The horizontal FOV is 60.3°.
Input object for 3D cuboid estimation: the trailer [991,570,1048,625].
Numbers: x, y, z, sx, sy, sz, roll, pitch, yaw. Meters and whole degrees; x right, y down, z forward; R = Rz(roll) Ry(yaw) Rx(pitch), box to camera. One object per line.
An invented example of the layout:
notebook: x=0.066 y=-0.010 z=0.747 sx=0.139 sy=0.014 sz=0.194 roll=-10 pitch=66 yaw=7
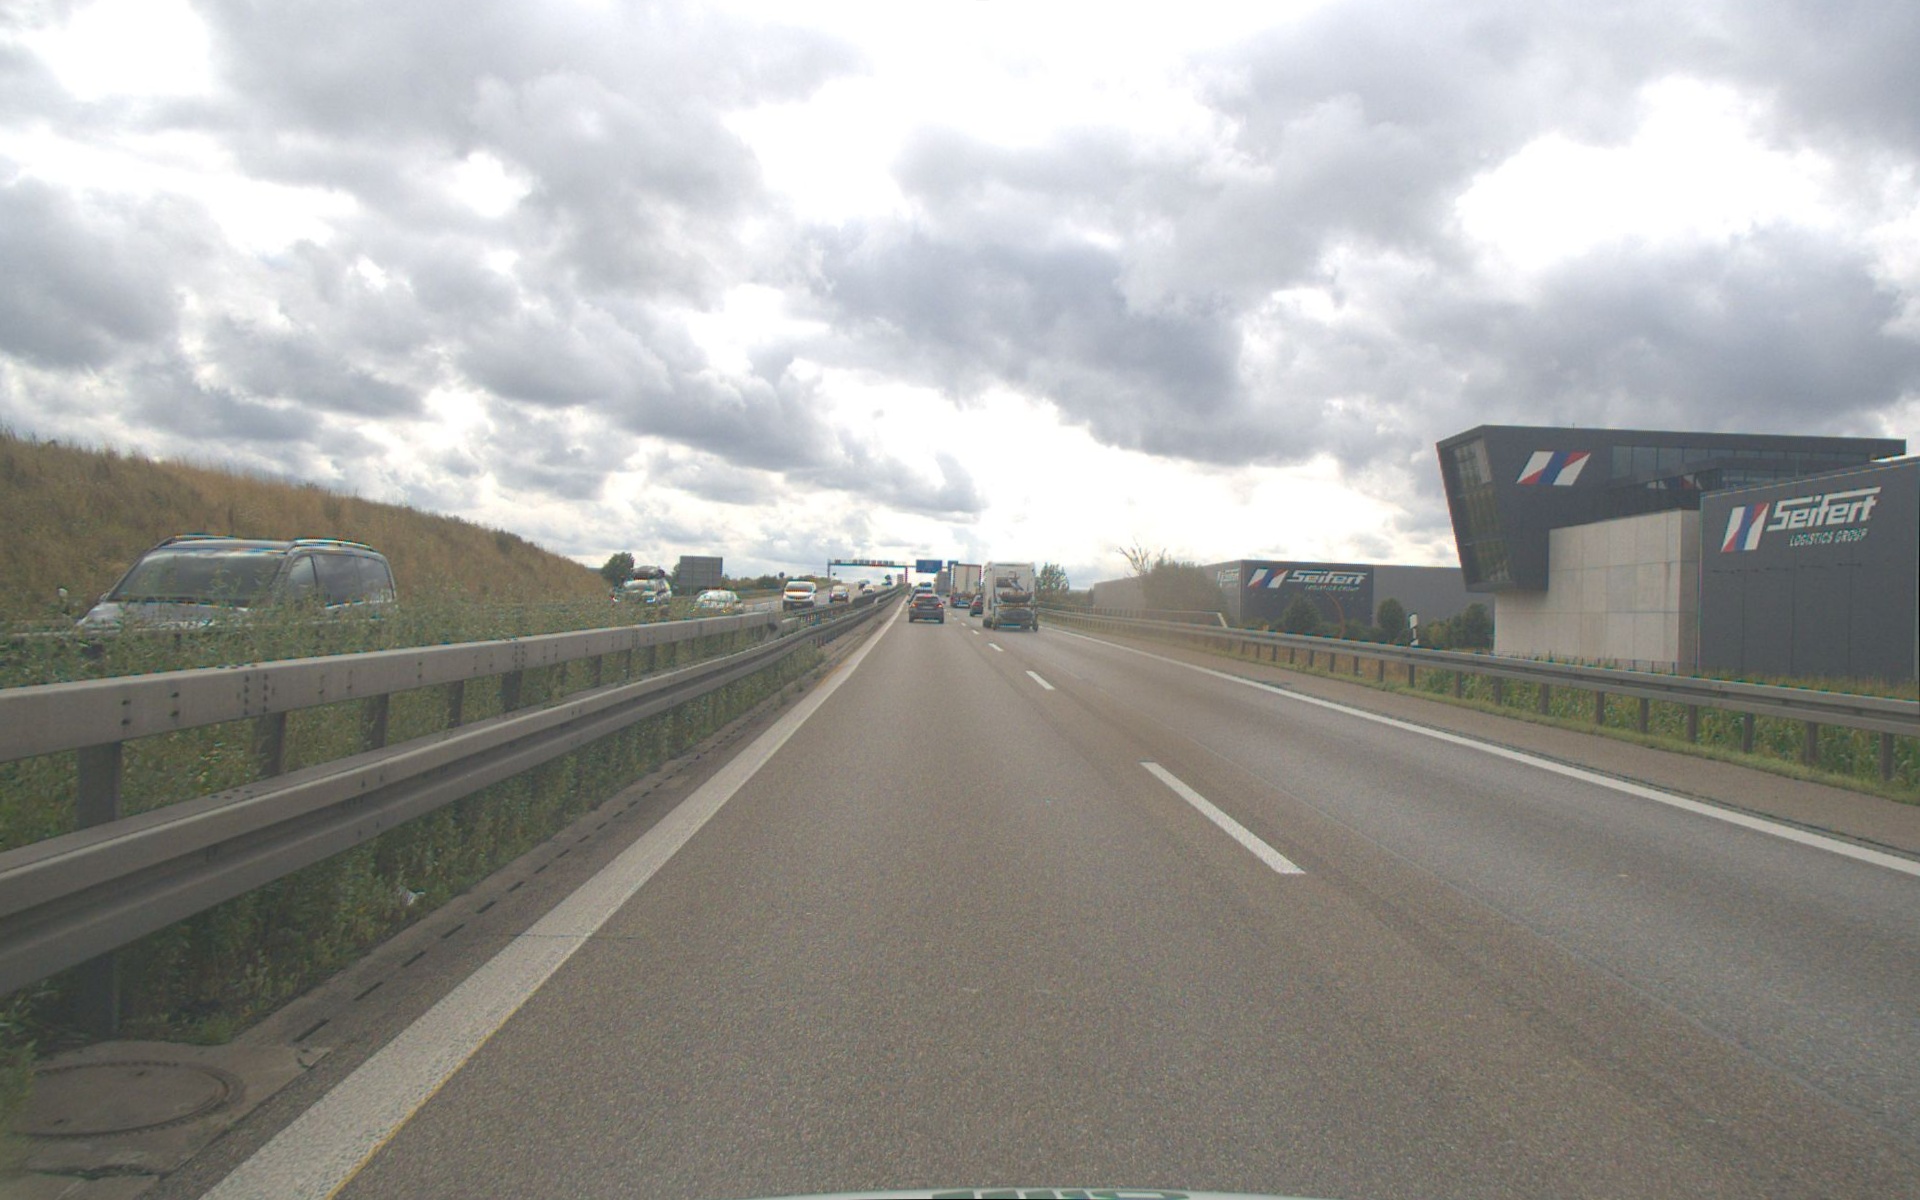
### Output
trailer: x=2.456 y=-0.075 z=69.270 sx=2.290 sy=2.174 sz=4.000 roll=1 pitch=-1 yaw=1

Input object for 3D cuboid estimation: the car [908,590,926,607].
car: x=-4.806 y=-0.164 z=185.322 sx=1.903 sy=1.806 sz=3.696 roll=1 pitch=-1 yaw=1

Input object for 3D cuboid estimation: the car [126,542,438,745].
car: x=-7.642 y=0.471 z=19.110 sx=1.953 sy=2.049 sz=3.999 roll=1 pitch=-1 yaw=-1

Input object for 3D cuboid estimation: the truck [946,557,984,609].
truck: x=0.408 y=-1.540 z=156.277 sx=3.271 sy=4.613 sz=8.015 roll=1 pitch=-1 yaw=-1

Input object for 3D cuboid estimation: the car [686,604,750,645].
car: x=-8.981 y=0.883 z=61.642 sx=1.774 sy=1.426 sz=4.405 roll=1 pitch=-1 yaw=-1

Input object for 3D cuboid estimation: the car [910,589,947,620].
car: x=-1.570 y=0.237 z=84.048 sx=1.710 sy=1.478 sz=4.000 roll=1 pitch=-1 yaw=1

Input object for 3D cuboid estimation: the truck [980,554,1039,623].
truck: x=2.236 y=-0.477 z=76.344 sx=2.431 sy=3.002 sz=5.813 roll=1 pitch=-1 yaw=-1

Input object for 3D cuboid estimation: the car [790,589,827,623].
car: x=-9.227 y=0.377 z=100.888 sx=1.791 sy=1.918 sz=5.417 roll=1 pitch=-1 yaw=-1

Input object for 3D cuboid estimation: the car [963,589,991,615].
car: x=1.135 y=0.153 z=112.748 sx=1.764 sy=1.714 sz=3.999 roll=1 pitch=-1 yaw=-1

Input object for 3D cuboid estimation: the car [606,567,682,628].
car: x=-12.638 y=-0.064 z=66.522 sx=1.953 sy=2.281 sz=5.717 roll=1 pitch=-1 yaw=-1

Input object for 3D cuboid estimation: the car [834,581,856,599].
car: x=-10.922 y=-0.958 z=157.201 sx=1.804 sy=1.604 sz=3.999 roll=1 pitch=-1 yaw=-1

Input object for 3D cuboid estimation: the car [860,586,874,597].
car: x=-13.832 y=-1.251 z=246.459 sx=1.868 sy=1.539 sz=4.728 roll=1 pitch=-1 yaw=-1
